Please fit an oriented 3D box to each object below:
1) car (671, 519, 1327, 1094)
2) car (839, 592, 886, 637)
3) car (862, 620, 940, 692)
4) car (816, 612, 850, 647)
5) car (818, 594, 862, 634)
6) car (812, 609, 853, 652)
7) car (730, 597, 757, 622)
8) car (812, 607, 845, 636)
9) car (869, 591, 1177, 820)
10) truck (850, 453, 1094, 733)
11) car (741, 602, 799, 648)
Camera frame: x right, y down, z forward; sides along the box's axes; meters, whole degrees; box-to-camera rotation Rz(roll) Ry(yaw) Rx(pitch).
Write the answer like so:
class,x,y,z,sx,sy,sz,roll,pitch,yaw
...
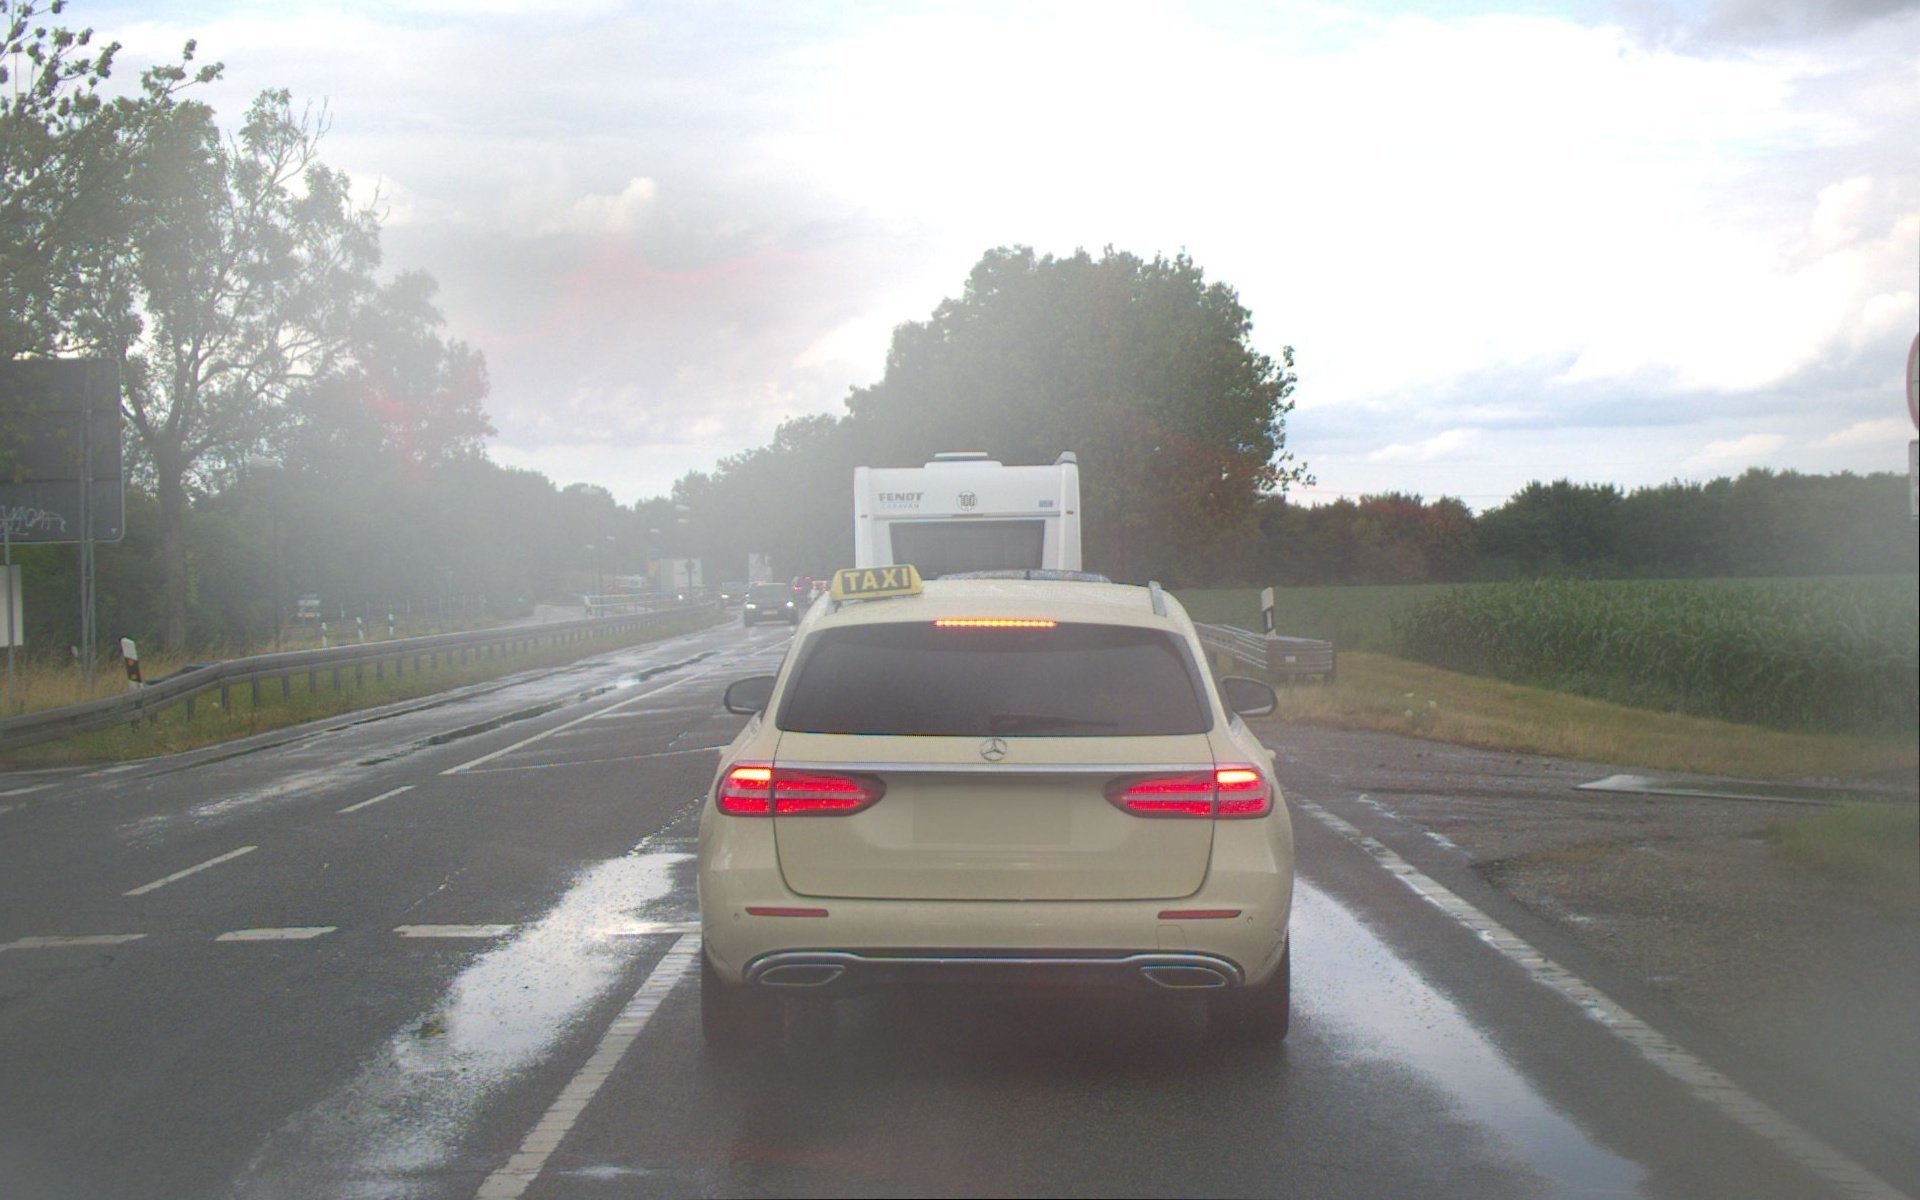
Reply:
class,x,y,z,sx,sy,sz,roll,pitch,yaw
car,0.089,0.582,11.705,1.842,1.612,4.000,0,0,-1
car,-3.895,0.564,137.640,1.791,1.771,3.721,-1,0,-1
car,-1.566,1.481,92.496,1.915,1.834,3.795,-1,0,1
car,-7.069,1.640,191.252,1.740,1.853,3.785,-1,0,-1
car,-5.424,0.632,156.311,1.879,1.755,3.834,-1,0,-1
car,-6.134,1.438,165.515,1.852,2.007,3.811,-1,0,-1
car,-13.241,0.578,209.939,1.607,1.487,3.786,-1,0,-4
car,-7.727,1.280,202.174,1.748,1.656,3.673,-1,0,-5
car,0.393,0.697,24.606,1.993,1.457,4.000,1,0,-1
truck,0.084,-0.084,37.662,2.363,2.720,7.314,-1,0,-1
car,-6.700,0.886,121.475,1.828,1.568,4.000,1,0,0
